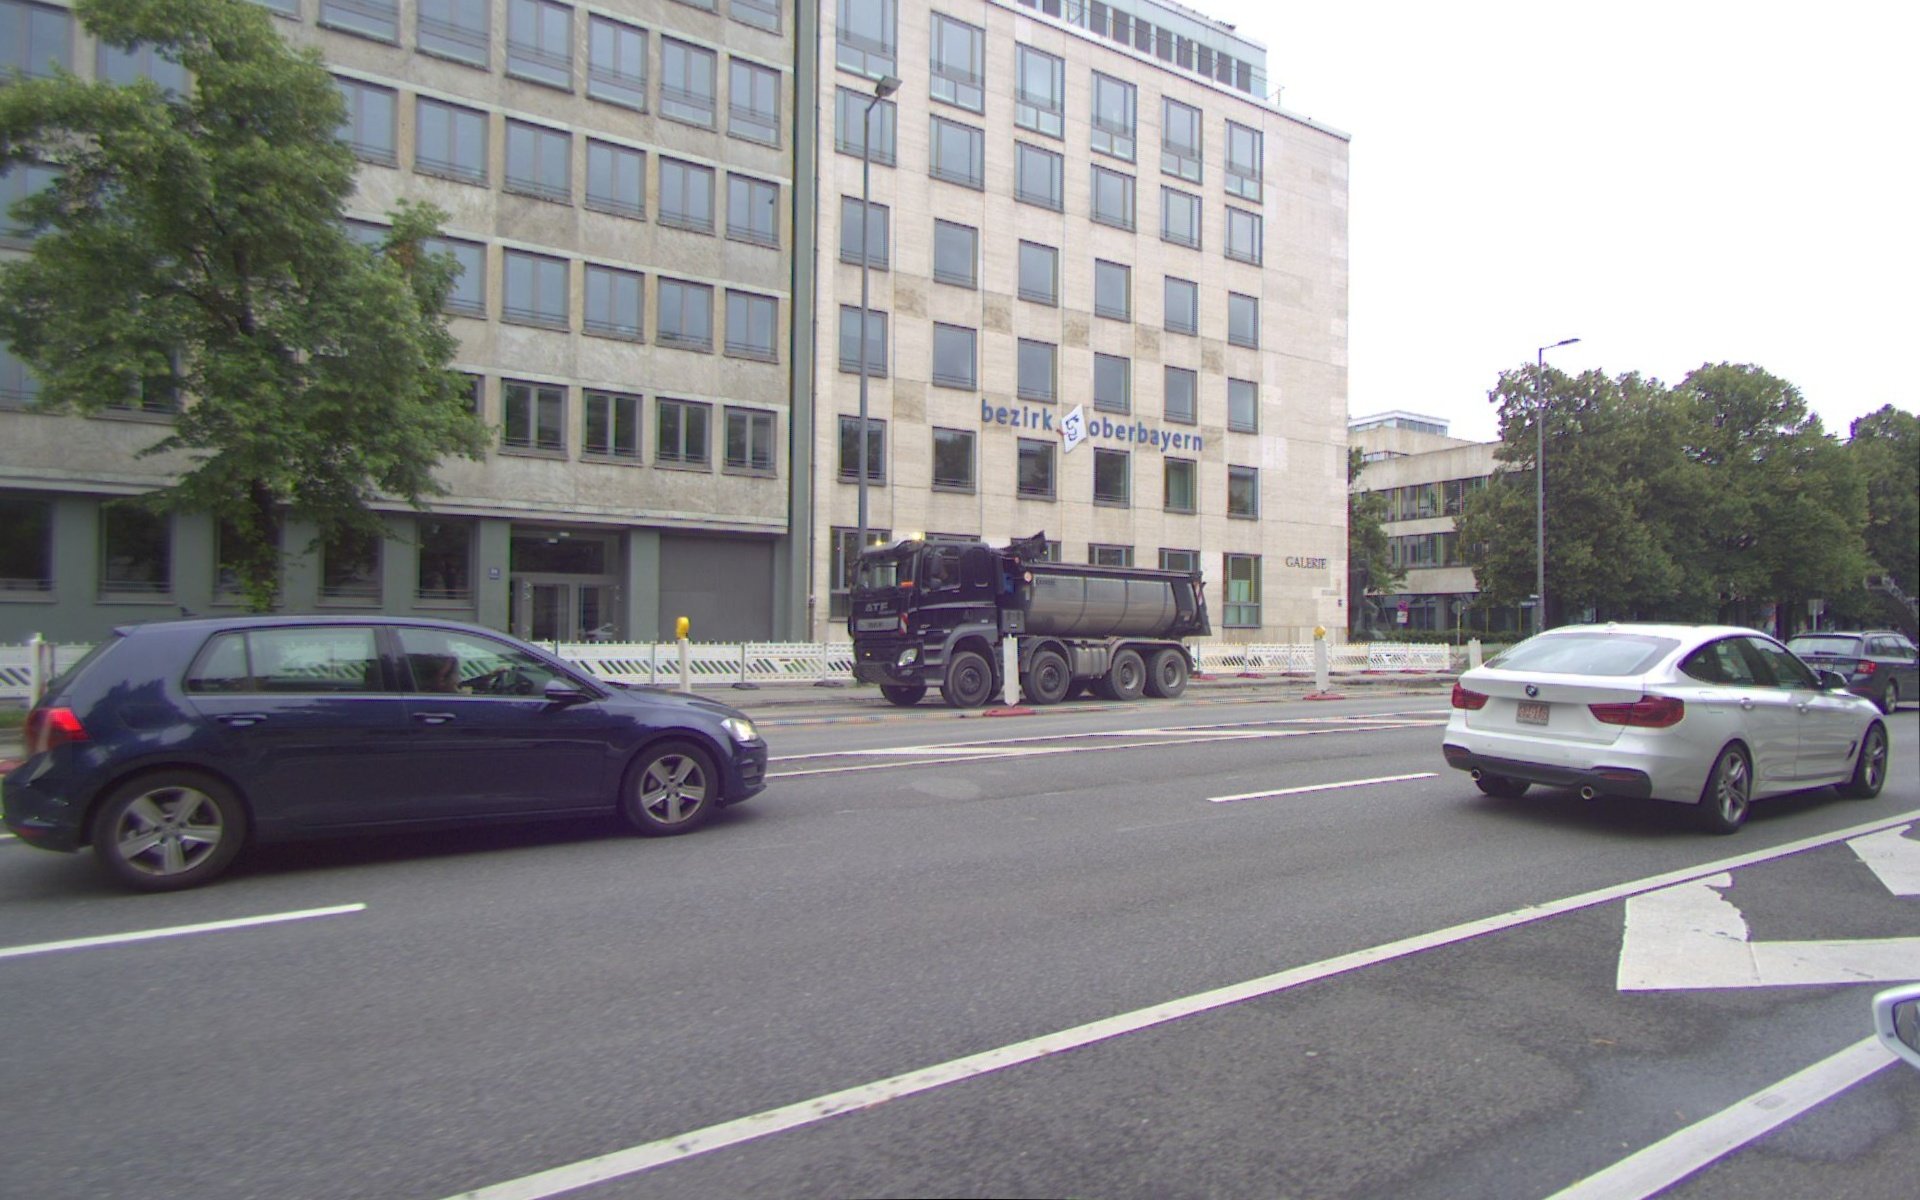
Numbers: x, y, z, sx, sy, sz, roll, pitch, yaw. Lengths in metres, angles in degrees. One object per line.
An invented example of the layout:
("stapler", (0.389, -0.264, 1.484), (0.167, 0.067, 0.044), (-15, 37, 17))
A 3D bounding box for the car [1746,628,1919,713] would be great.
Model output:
("car", (17.002, 1.283, 19.089), (4.224, 1.466, 1.785), (2, -2, -30))

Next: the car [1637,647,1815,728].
("car", (17.196, 1.892, 22.516), (3.957, 1.617, 1.982), (1, -2, -33))

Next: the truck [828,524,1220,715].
("truck", (1.661, 0.419, 21.605), (8.683, 3.401, 2.820), (1, 0, -37))

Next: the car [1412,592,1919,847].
("car", (6.196, 0.854, 8.625), (4.970, 1.658, 1.783), (2, -2, -32))

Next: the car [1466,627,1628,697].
("car", (14.792, 1.520, 25.287), (3.957, 1.617, 1.982), (1, -2, -33))

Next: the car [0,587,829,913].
("car", (-3.167, 0.768, 6.572), (4.289, 1.536, 1.683), (1, -2, -31))
